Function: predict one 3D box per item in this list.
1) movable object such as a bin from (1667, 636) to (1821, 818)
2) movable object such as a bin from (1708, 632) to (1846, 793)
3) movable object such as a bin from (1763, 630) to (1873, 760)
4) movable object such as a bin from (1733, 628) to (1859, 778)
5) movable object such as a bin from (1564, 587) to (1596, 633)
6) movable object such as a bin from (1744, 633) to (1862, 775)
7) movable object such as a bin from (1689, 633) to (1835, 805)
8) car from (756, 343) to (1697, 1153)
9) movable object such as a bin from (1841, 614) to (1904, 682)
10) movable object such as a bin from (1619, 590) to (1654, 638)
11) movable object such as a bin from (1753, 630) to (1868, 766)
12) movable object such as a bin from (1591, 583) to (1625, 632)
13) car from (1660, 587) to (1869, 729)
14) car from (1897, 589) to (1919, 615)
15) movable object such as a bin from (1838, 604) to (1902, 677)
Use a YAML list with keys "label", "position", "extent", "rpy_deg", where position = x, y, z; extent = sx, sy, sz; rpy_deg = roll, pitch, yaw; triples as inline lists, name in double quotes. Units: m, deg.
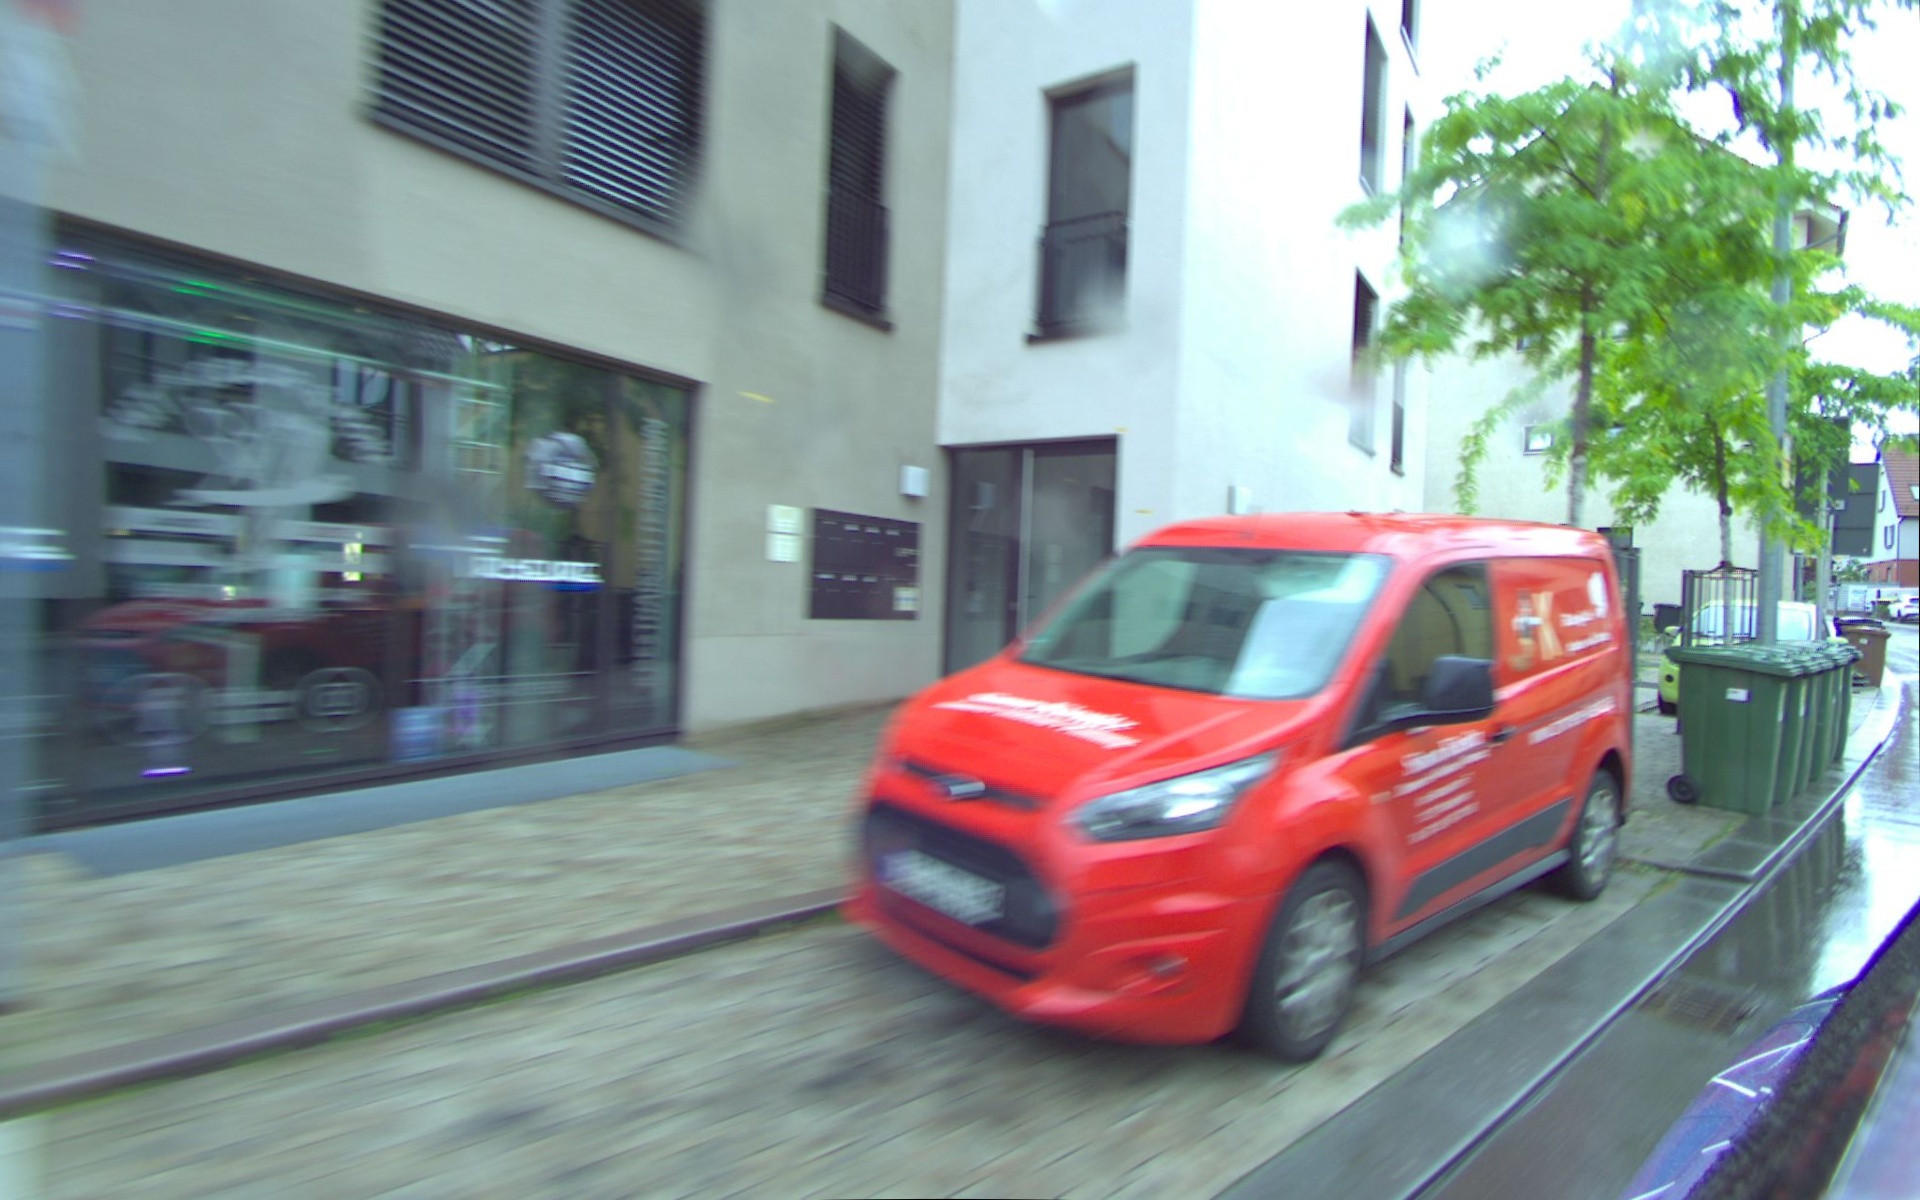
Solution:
- label: "movable object such as a bin"
  position: [5.330, 0.824, 6.887]
  extent: [0.591, 1.101, 0.710]
  rpy_deg: [1, 2, -42]
- label: "movable object such as a bin"
  position: [6.210, 0.818, 7.698]
  extent: [0.591, 1.101, 0.710]
  rpy_deg: [1, 2, -42]
- label: "movable object such as a bin"
  position: [8.036, 0.859, 9.484]
  extent: [0.591, 1.101, 0.709]
  rpy_deg: [1, 2, -45]
- label: "movable object such as a bin"
  position: [6.817, 0.809, 8.258]
  extent: [0.591, 1.101, 0.709]
  rpy_deg: [1, 2, -45]
- label: "movable object such as a bin"
  position: [15.952, 0.245, 26.043]
  extent: [0.580, 1.122, 0.714]
  rpy_deg: [4, 4, 27]
- label: "movable object such as a bin"
  position: [7.207, 0.856, 8.657]
  extent: [0.507, 1.101, 0.703]
  rpy_deg: [1, 2, -44]
- label: "movable object such as a bin"
  position: [5.775, 0.820, 7.296]
  extent: [0.591, 1.101, 0.710]
  rpy_deg: [1, 2, -42]
- label: "car"
  position: [1.553, 0.287, 4.581]
  extent: [4.524, 1.930, 1.840]
  rpy_deg: [-1, 3, -41]
- label: "movable object such as a bin"
  position: [16.634, 0.853, 18.440]
  extent: [0.761, 1.122, 0.797]
  rpy_deg: [6, 5, 44]
- label: "movable object such as a bin"
  position: [17.053, 0.349, 25.524]
  extent: [0.580, 1.122, 0.714]
  rpy_deg: [4, 4, 27]
- label: "movable object such as a bin"
  position: [7.604, 0.844, 9.055]
  extent: [0.591, 1.101, 0.709]
  rpy_deg: [1, 2, -45]
- label: "movable object such as a bin"
  position: [16.515, 0.181, 25.789]
  extent: [0.580, 1.199, 0.714]
  rpy_deg: [4, 4, 27]
- label: "car"
  position: [10.594, 0.631, 13.251]
  extent: [3.574, 1.544, 1.640]
  rpy_deg: [-1, 3, -44]
- label: "car"
  position: [57.059, 0.091, 59.710]
  extent: [1.987, 1.464, 3.951]
  rpy_deg: [1, 1, 34]
- label: "movable object such as a bin"
  position: [17.428, 0.745, 19.376]
  extent: [0.796, 1.263, 1.224]
  rpy_deg: [6, 5, 43]
